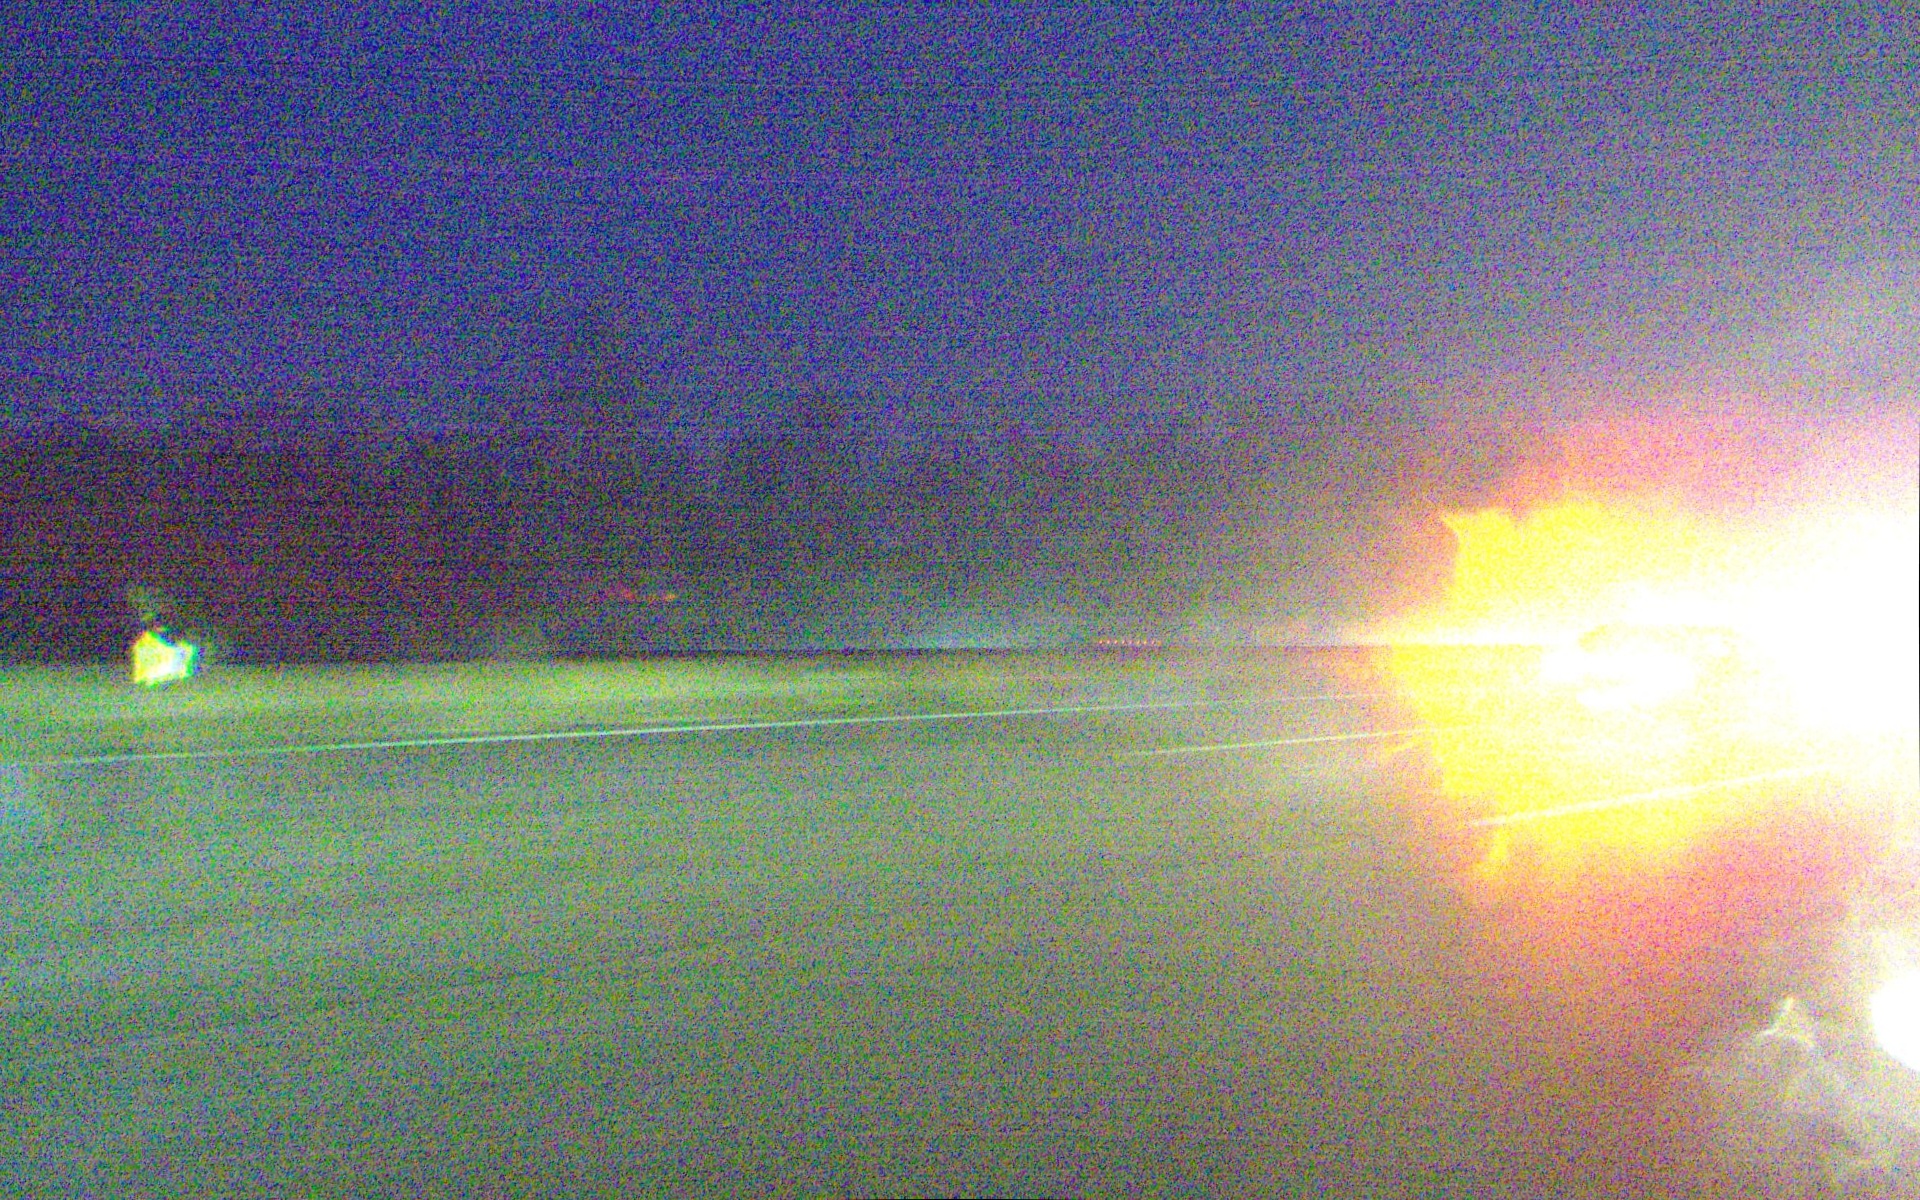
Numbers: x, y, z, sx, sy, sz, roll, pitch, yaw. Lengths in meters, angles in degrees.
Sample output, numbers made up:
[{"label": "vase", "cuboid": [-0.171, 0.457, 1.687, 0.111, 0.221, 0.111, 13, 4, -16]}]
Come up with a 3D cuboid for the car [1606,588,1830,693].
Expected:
[{"label": "car", "cuboid": [17.207, 0.876, 22.729, 5.564, 2.132, 2.112, 1, 0, -31]}]

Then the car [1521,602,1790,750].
[{"label": "car", "cuboid": [9.473, 0.910, 13.601, 3.960, 1.712, 1.754, 1, 0, -35]}]

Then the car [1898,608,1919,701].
[{"label": "car", "cuboid": [20.633, 1.109, 20.009, 4.472, 1.785, 2.025, 2, 0, -36]}]

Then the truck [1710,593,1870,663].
[{"label": "truck", "cuboid": [60.752, 2.078, 73.210, 17.397, 4.619, 3.392, 2, 0, -31]}]
